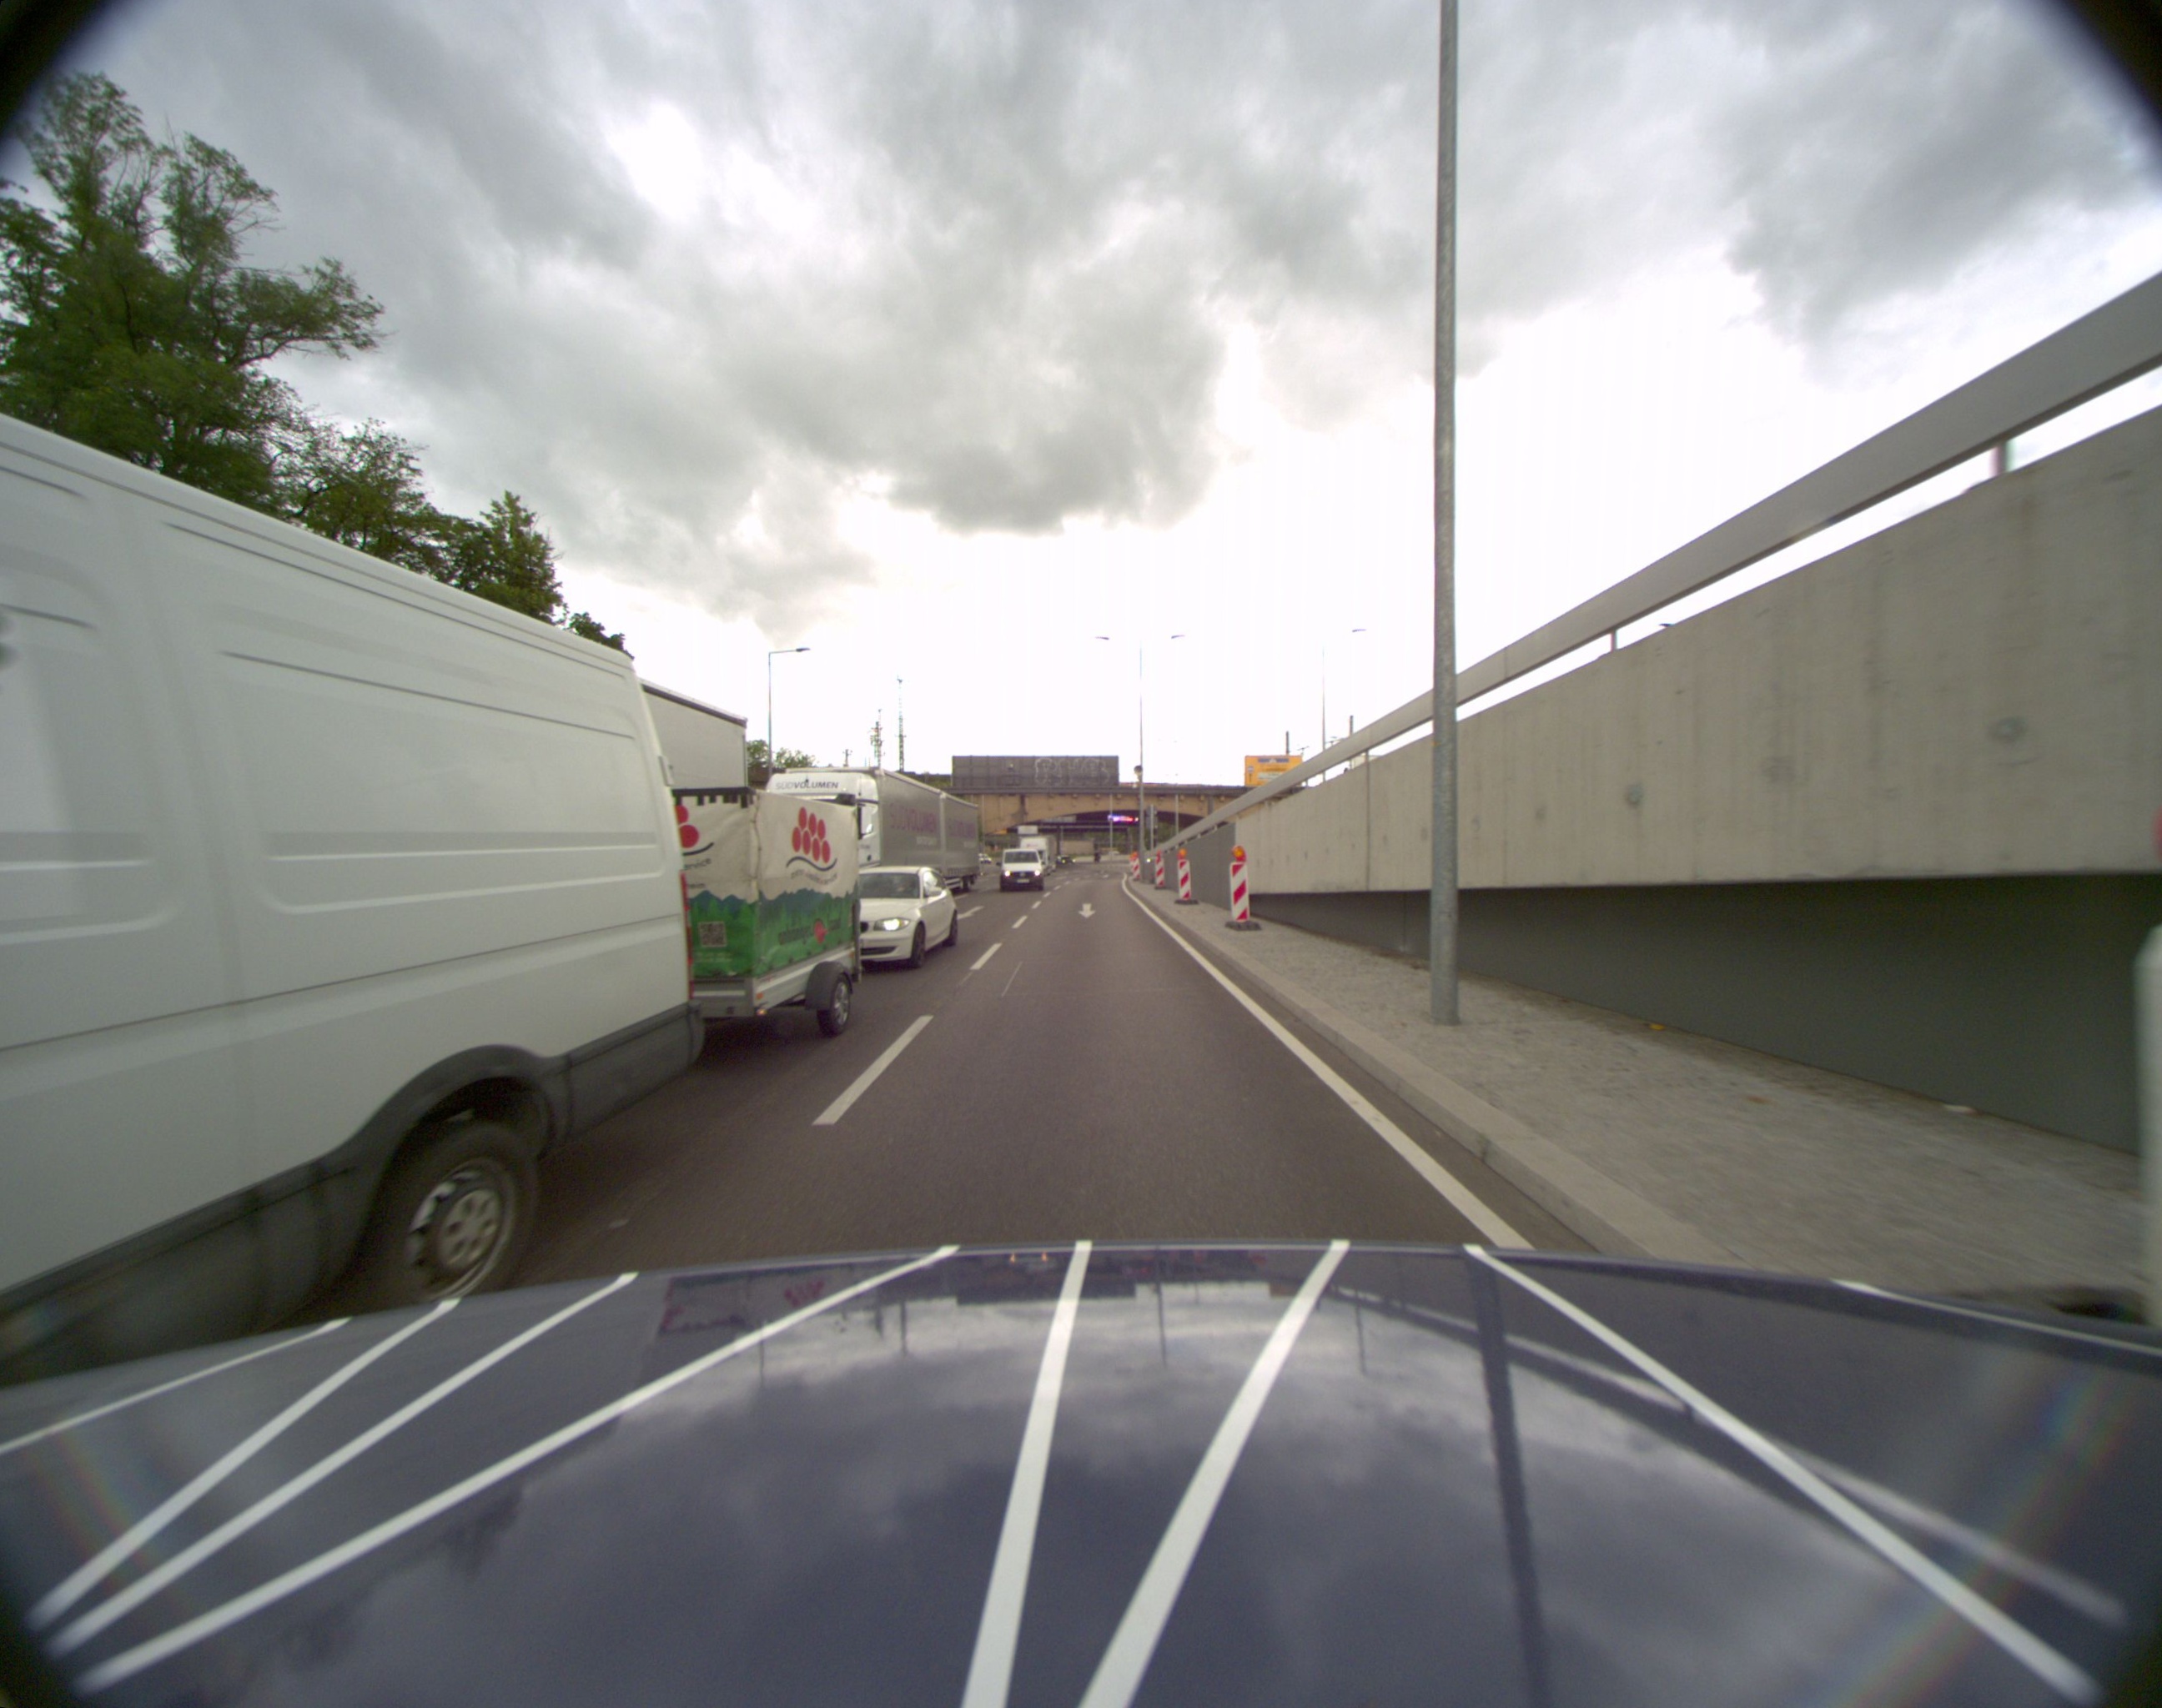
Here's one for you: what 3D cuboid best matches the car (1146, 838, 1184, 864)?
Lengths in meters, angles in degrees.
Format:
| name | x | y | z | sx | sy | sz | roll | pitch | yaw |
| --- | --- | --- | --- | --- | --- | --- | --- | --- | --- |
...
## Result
| name | x | y | z | sx | sy | sz | roll | pitch | yaw |
| --- | --- | --- | --- | --- | --- | --- | --- | --- | --- |
| car | 6.203 | -0.231 | 56.776 | 1.869 | 1.827 | 4.203 | -2 | 1 | -7 |

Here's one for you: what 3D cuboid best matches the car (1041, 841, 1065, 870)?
| name | x | y | z | sx | sy | sz | roll | pitch | yaw |
| --- | --- | --- | --- | --- | --- | --- | --- | --- | --- |
| car | -2.991 | 0.116 | 81.469 | 2.160 | 2.880 | 6.210 | -2 | 1 | 1 |

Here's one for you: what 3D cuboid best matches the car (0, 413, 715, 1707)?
| name | x | y | z | sx | sy | sz | roll | pitch | yaw |
| --- | --- | --- | --- | --- | --- | --- | --- | --- | --- |
| car | -3.156 | 0.475 | 1.119 | 2.063 | 2.612 | 5.943 | -5 | 0 | 1 |

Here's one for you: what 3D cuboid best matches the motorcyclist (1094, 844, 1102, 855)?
| name | x | y | z | sx | sy | sz | roll | pitch | yaw |
| --- | --- | --- | --- | --- | --- | --- | --- | --- | --- |
| motorcyclist | 2.665 | -0.650 | 117.539 | 0.668 | 1.596 | 1.100 | -3 | 0 | -41 |

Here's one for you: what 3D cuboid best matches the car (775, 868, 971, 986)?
| name | x | y | z | sx | sy | sz | roll | pitch | yaw |
| --- | --- | --- | --- | --- | --- | --- | --- | --- | --- |
| car | -3.039 | 1.000 | 12.119 | 1.720 | 1.390 | 4.347 | -1 | 1 | 3 |

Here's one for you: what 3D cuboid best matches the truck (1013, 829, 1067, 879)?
| name | x | y | z | sx | sy | sz | roll | pitch | yaw |
| --- | --- | --- | --- | --- | --- | --- | --- | --- | --- |
| truck | -3.232 | -0.118 | 63.040 | 3.031 | 3.567 | 8.951 | -4 | 1 | 5 |

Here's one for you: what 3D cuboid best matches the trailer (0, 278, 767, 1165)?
| name | x | y | z | sx | sy | sz | roll | pitch | yaw |
| --- | --- | --- | --- | --- | --- | --- | --- | --- | --- |
| trailer | -7.459 | -0.670 | 7.004 | 3.814 | 4.604 | 12.112 | -2 | 1 | 0 |

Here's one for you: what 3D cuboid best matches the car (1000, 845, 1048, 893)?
| name | x | y | z | sx | sy | sz | roll | pitch | yaw |
| --- | --- | --- | --- | --- | --- | --- | --- | --- | --- |
| car | -2.686 | 0.607 | 35.186 | 1.999 | 1.978 | 5.196 | -2 | 1 | -5 |

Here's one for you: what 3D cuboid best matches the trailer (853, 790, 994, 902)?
| name | x | y | z | sx | sy | sz | roll | pitch | yaw |
| --- | --- | --- | --- | --- | --- | --- | --- | --- | --- |
| trailer | -6.652 | -0.355 | 34.511 | 3.733 | 4.118 | 10.982 | -2 | 1 | 1 |

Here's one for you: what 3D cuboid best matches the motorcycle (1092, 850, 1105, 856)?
| name | x | y | z | sx | sy | sz | roll | pitch | yaw |
| --- | --- | --- | --- | --- | --- | --- | --- | --- | --- |
| motorcycle | 2.694 | -0.131 | 117.534 | 0.668 | 0.911 | 2.388 | -2 | -1 | -41 |

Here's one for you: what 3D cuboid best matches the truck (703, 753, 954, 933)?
| name | x | y | z | sx | sy | sz | roll | pitch | yaw |
| --- | --- | --- | --- | --- | --- | --- | --- | --- | --- |
| truck | -6.909 | -0.313 | 23.554 | 3.733 | 4.118 | 10.982 | -2 | 1 | 1 |

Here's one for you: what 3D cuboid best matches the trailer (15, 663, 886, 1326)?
| name | x | y | z | sx | sy | sz | roll | pitch | yaw |
| --- | --- | --- | --- | --- | --- | --- | --- | --- | --- |
| trailer | -3.120 | 0.529 | 5.449 | 2.108 | 2.624 | 4.808 | -1 | 1 | 0 |
